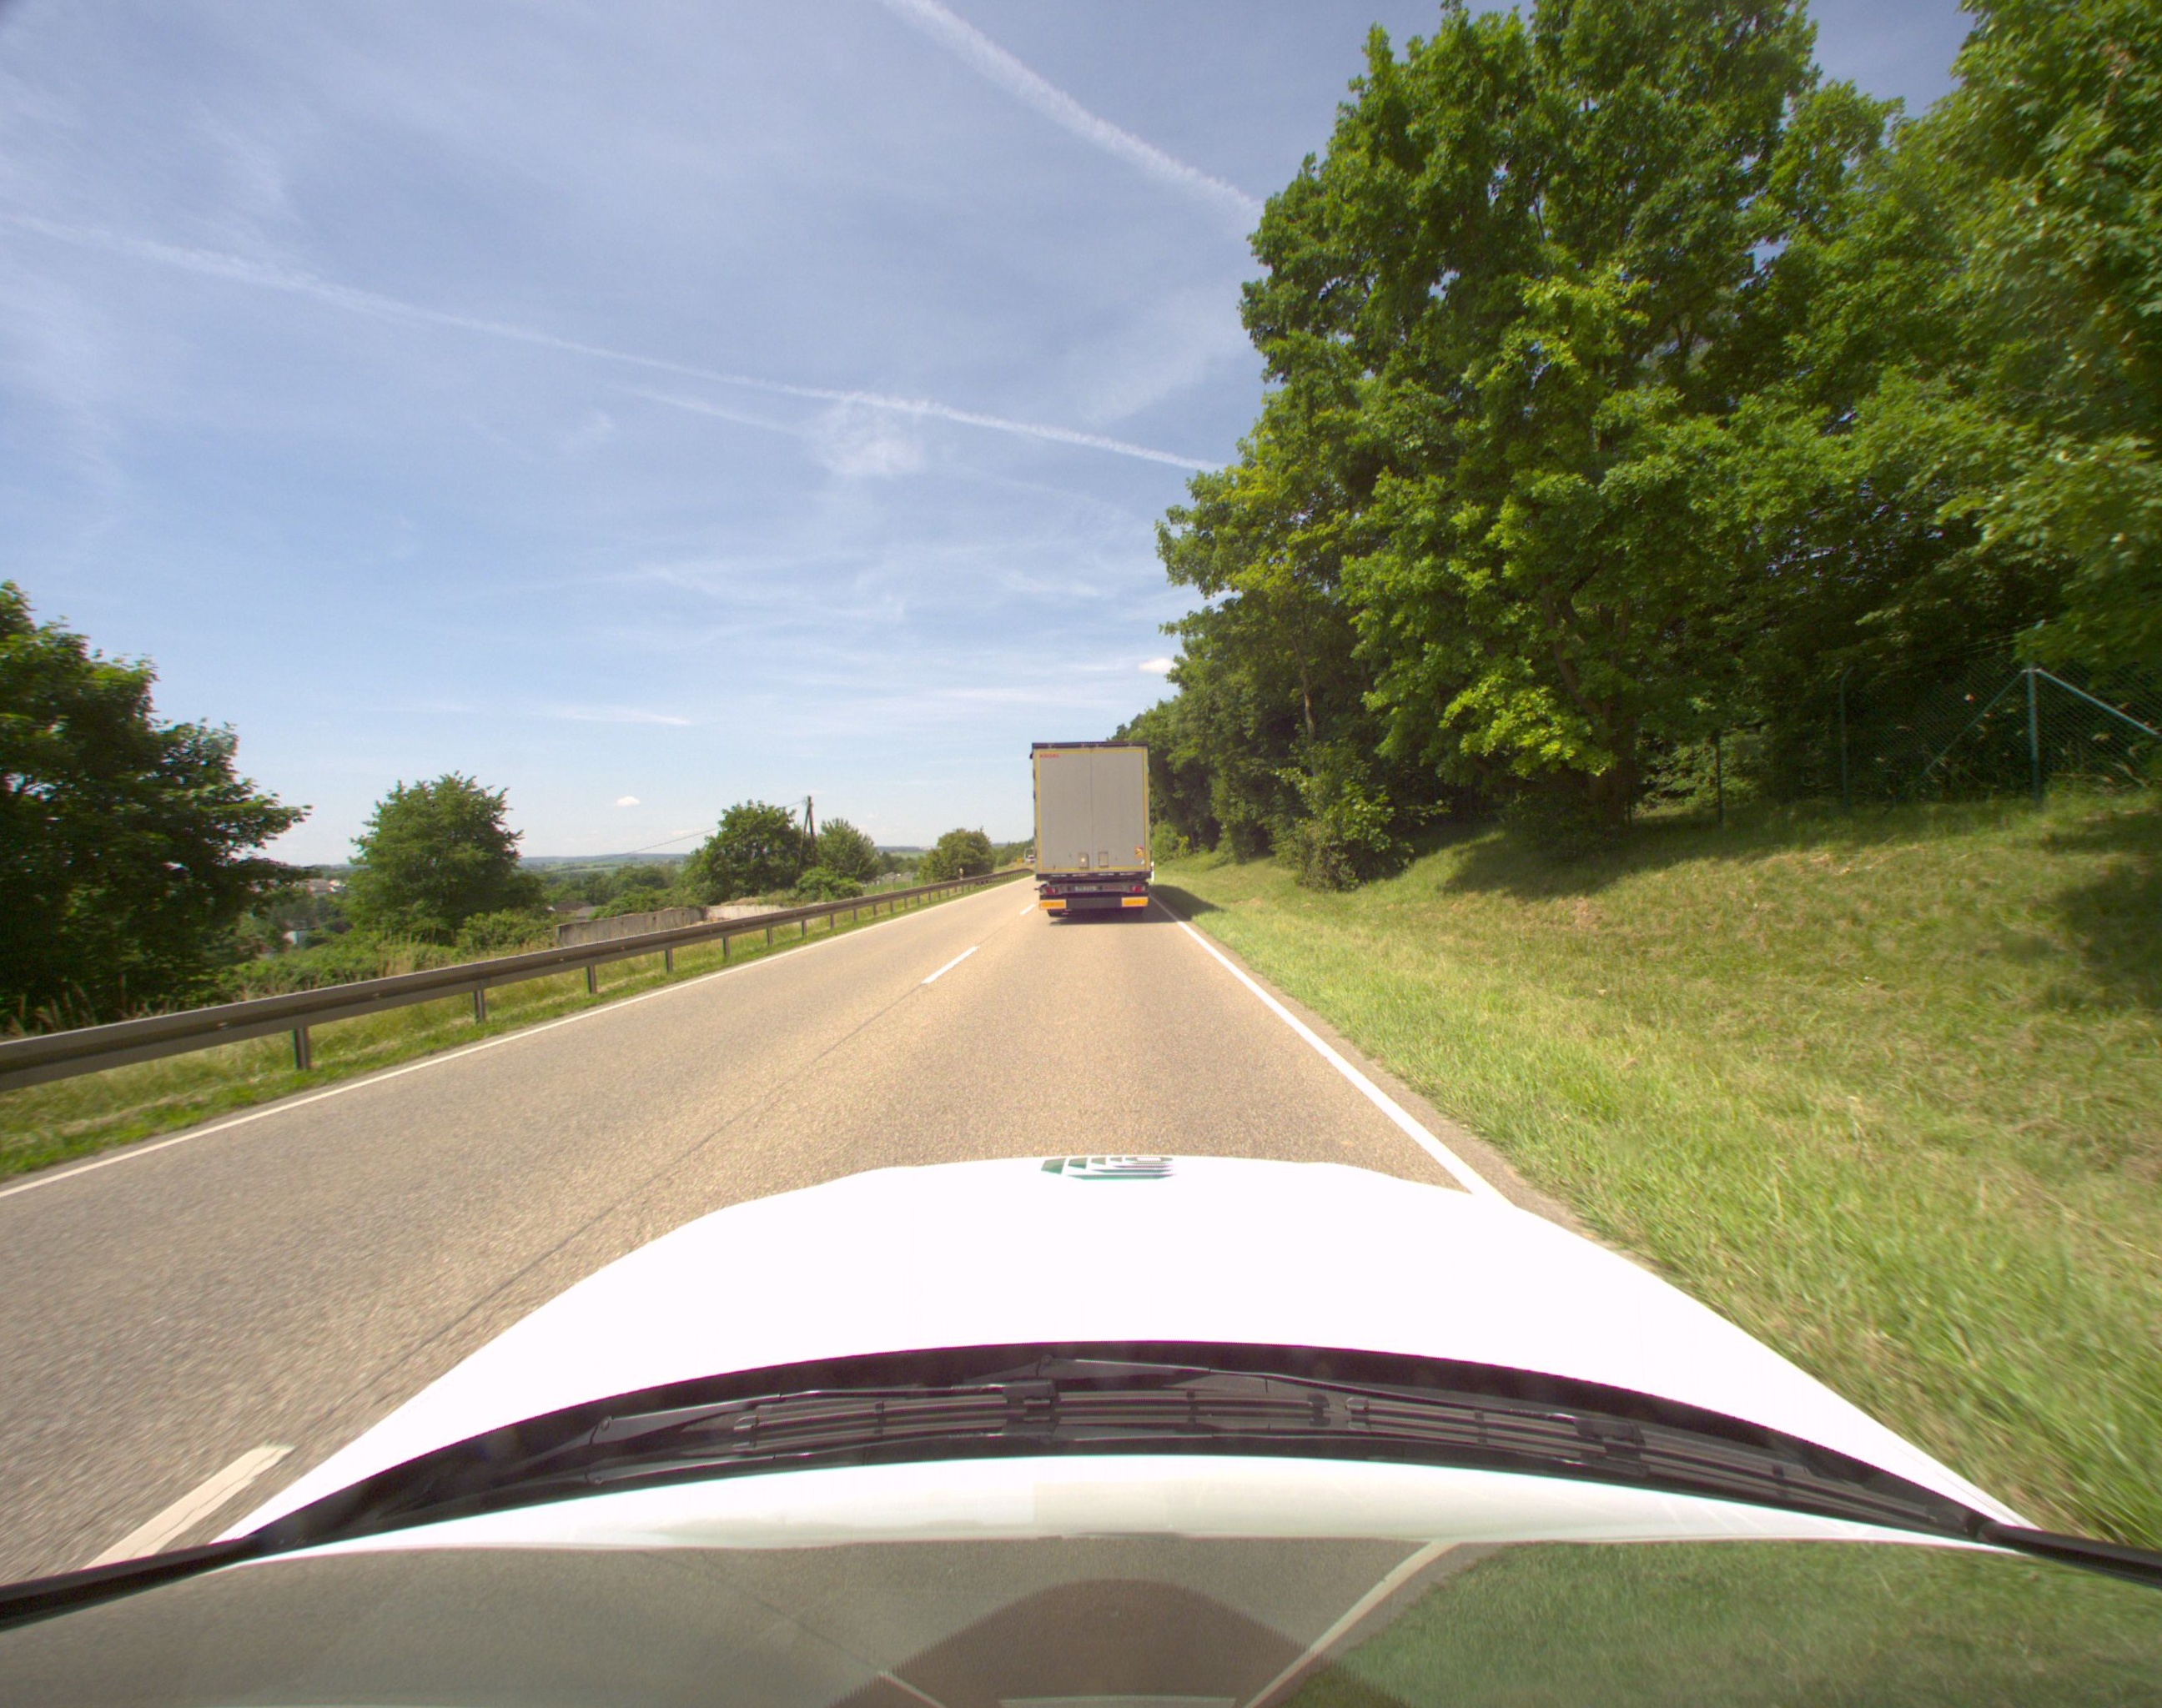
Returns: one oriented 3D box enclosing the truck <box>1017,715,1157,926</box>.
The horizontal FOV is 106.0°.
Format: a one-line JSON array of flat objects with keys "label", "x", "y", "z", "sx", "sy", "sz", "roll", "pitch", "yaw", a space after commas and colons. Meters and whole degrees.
[{"label": "truck", "x": 0.213, "y": -0.700, "z": 21.629, "sx": 2.897, "sy": 4.410, "sz": 8.861, "roll": -1, "pitch": 0, "yaw": 1}]
